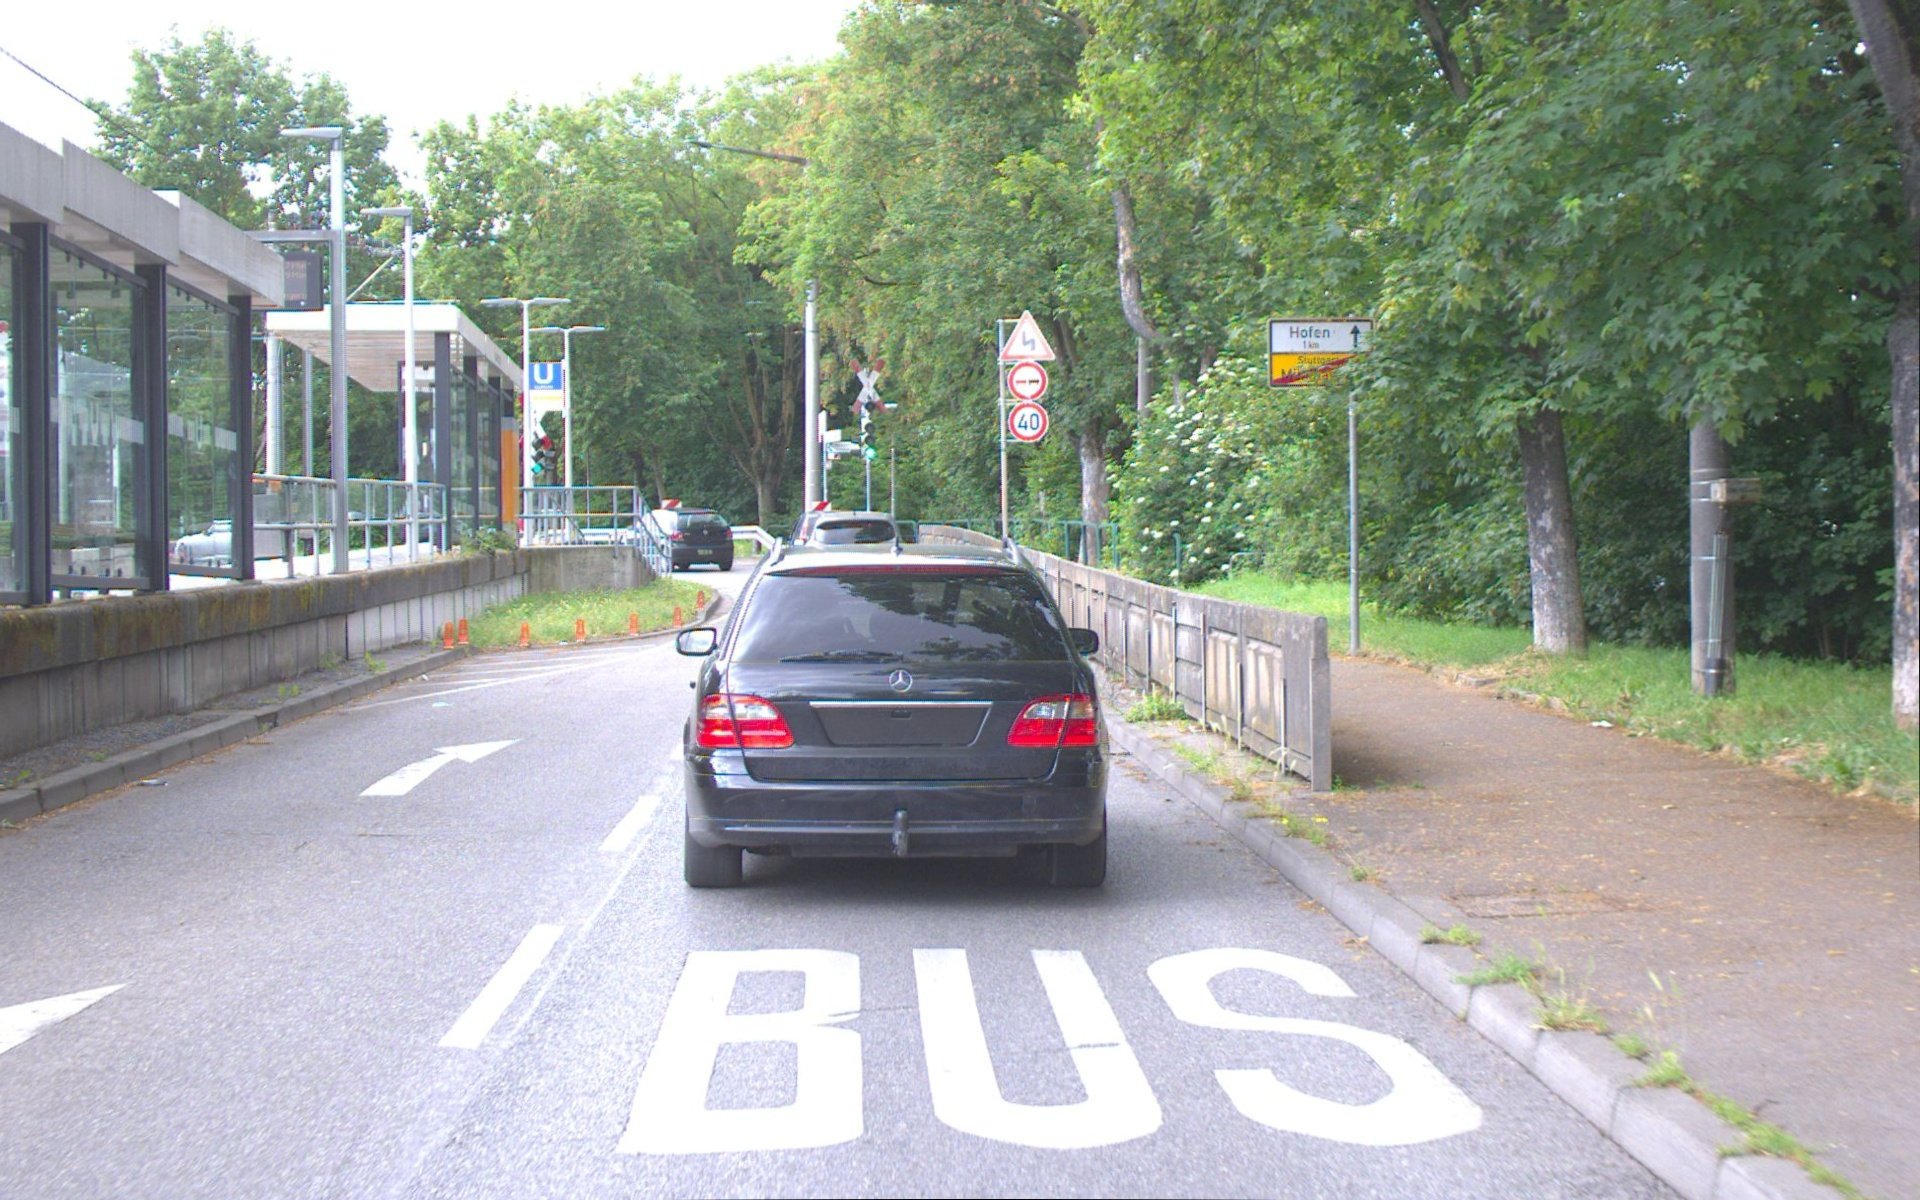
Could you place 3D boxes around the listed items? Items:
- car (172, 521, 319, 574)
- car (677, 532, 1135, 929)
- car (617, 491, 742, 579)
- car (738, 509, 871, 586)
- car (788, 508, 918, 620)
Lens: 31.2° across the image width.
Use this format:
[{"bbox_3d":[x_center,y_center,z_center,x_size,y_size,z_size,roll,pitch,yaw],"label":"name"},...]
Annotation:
[{"bbox_3d":[-19.957,-1.480,95.964,3.997,1.394,1.995,2,2,41],"label":"car"},{"bbox_3d":[-0.332,0.476,15.468,1.781,1.520,4.001,1,1,-4],"label":"car"},{"bbox_3d":[-6.487,-1.467,79.199,1.993,1.912,4.001,2,0,-17],"label":"car"},{"bbox_3d":[-3.012,-1.020,65.634,1.993,1.394,4.001,0,2,-11],"label":"car"},{"bbox_3d":[-1.729,-0.566,54.495,1.781,1.642,4.001,-2,1,-5],"label":"car"}]
